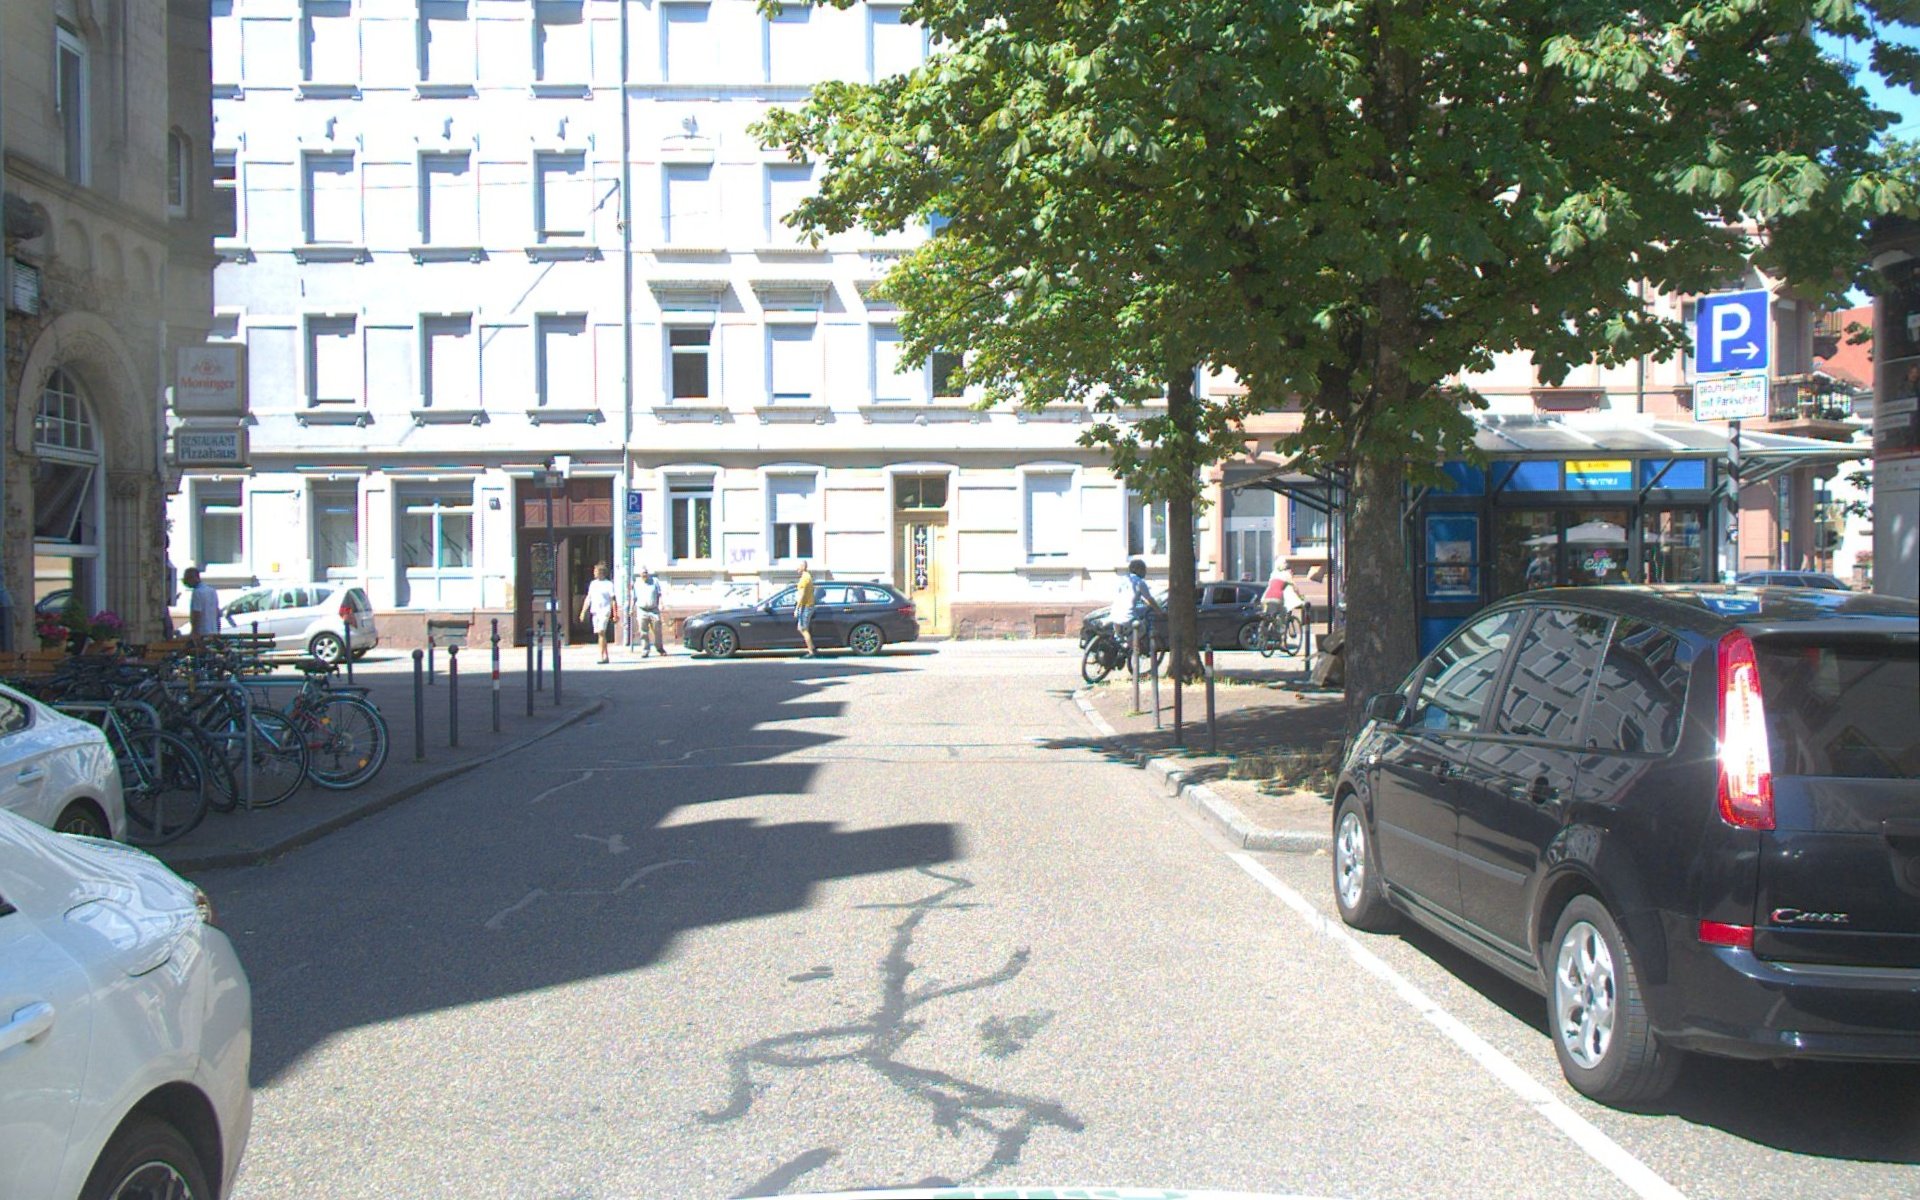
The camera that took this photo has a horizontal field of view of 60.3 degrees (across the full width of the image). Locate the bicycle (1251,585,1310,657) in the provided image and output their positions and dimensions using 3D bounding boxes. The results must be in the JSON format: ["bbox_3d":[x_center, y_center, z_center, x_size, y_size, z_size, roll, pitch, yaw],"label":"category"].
[{"bbox_3d":[5.753,0.350,29.621,0.638,1.230,2.442,1,0,20],"label":"bicycle"}]

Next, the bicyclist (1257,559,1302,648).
[{"bbox_3d":[5.698,0.057,29.460,0.656,1.560,0.609,-1,0,22],"label":"bicyclist"}]

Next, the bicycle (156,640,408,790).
[{"bbox_3d":[-5.047,0.853,12.369,1.672,1.063,0.413,1,0,-6],"label":"bicycle"}]

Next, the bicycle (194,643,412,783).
[{"bbox_3d":[-5.063,0.868,12.795,1.495,1.025,0.367,1,0,-6],"label":"bicycle"}]

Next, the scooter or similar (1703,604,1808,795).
[{"bbox_3d":[5.247,0.620,10.887,0.434,1.156,1.181,-1,1,34],"label":"scooter or similar"}]

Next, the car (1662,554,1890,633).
[{"bbox_3d":[17.087,-0.140,34.736,3.907,1.532,1.777,-1,0,-3],"label":"car"}]

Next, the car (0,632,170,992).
[{"bbox_3d":[-4.607,0.908,5.848,1.668,1.376,4.511,-3,1,-4],"label":"car"}]

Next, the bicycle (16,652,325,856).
[{"bbox_3d":[-4.891,0.943,10.292,1.670,1.119,0.292,-4,1,-6],"label":"bicycle"}]

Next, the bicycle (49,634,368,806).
[{"bbox_3d":[-5.182,0.825,11.474,1.956,1.149,0.435,1,0,-6],"label":"bicycle"}]

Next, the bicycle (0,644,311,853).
[{"bbox_3d":[-4.861,0.883,9.986,1.670,1.119,0.292,-3,1,-6],"label":"bicycle"}]

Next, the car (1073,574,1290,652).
[{"bbox_3d":[4.534,0.243,34.208,4.208,1.394,1.807,-1,3,-2],"label":"car"}]

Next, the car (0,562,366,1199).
[{"bbox_3d":[-2.101,0.749,1.249,1.804,1.486,4.361,-3,1,-2],"label":"car"}]

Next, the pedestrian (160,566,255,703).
[{"bbox_3d":[-9.626,0.428,21.184,0.840,1.701,0.774,-1,0,-2],"label":"pedestrian"}]

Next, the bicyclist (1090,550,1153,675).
[{"bbox_3d":[2.366,0.177,24.219,0.661,1.791,0.605,1,0,44],"label":"bicyclist"}]

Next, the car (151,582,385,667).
[{"bbox_3d":[-13.971,0.471,33.562,3.966,1.589,1.806,-1,0,-3],"label":"car"}]

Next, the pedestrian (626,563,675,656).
[{"bbox_3d":[-6.305,0.185,33.756,0.884,1.845,0.959,-1,0,-7],"label":"pedestrian"}]

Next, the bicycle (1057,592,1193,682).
[{"bbox_3d":[2.453,0.516,24.299,0.643,1.250,2.425,1,1,43],"label":"bicycle"}]

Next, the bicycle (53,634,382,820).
[{"bbox_3d":[-4.930,0.844,11.053,1.934,1.149,0.394,2,0,-6],"label":"bicycle"}]

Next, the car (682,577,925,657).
[{"bbox_3d":[-3.118,0.328,33.754,4.762,1.462,1.999,-1,0,-2],"label":"car"}]

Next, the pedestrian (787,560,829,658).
[{"bbox_3d":[-2.991,0.176,32.455,0.712,1.885,0.683,-1,0,-12],"label":"pedestrian"}]

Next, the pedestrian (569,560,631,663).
[{"bbox_3d":[-6.846,0.217,31.520,0.832,1.922,0.936,-1,0,9],"label":"pedestrian"}]

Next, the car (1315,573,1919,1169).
[{"bbox_3d":[2.735,0.707,6.482,1.629,1.567,4.176,1,1,-2],"label":"car"}]
